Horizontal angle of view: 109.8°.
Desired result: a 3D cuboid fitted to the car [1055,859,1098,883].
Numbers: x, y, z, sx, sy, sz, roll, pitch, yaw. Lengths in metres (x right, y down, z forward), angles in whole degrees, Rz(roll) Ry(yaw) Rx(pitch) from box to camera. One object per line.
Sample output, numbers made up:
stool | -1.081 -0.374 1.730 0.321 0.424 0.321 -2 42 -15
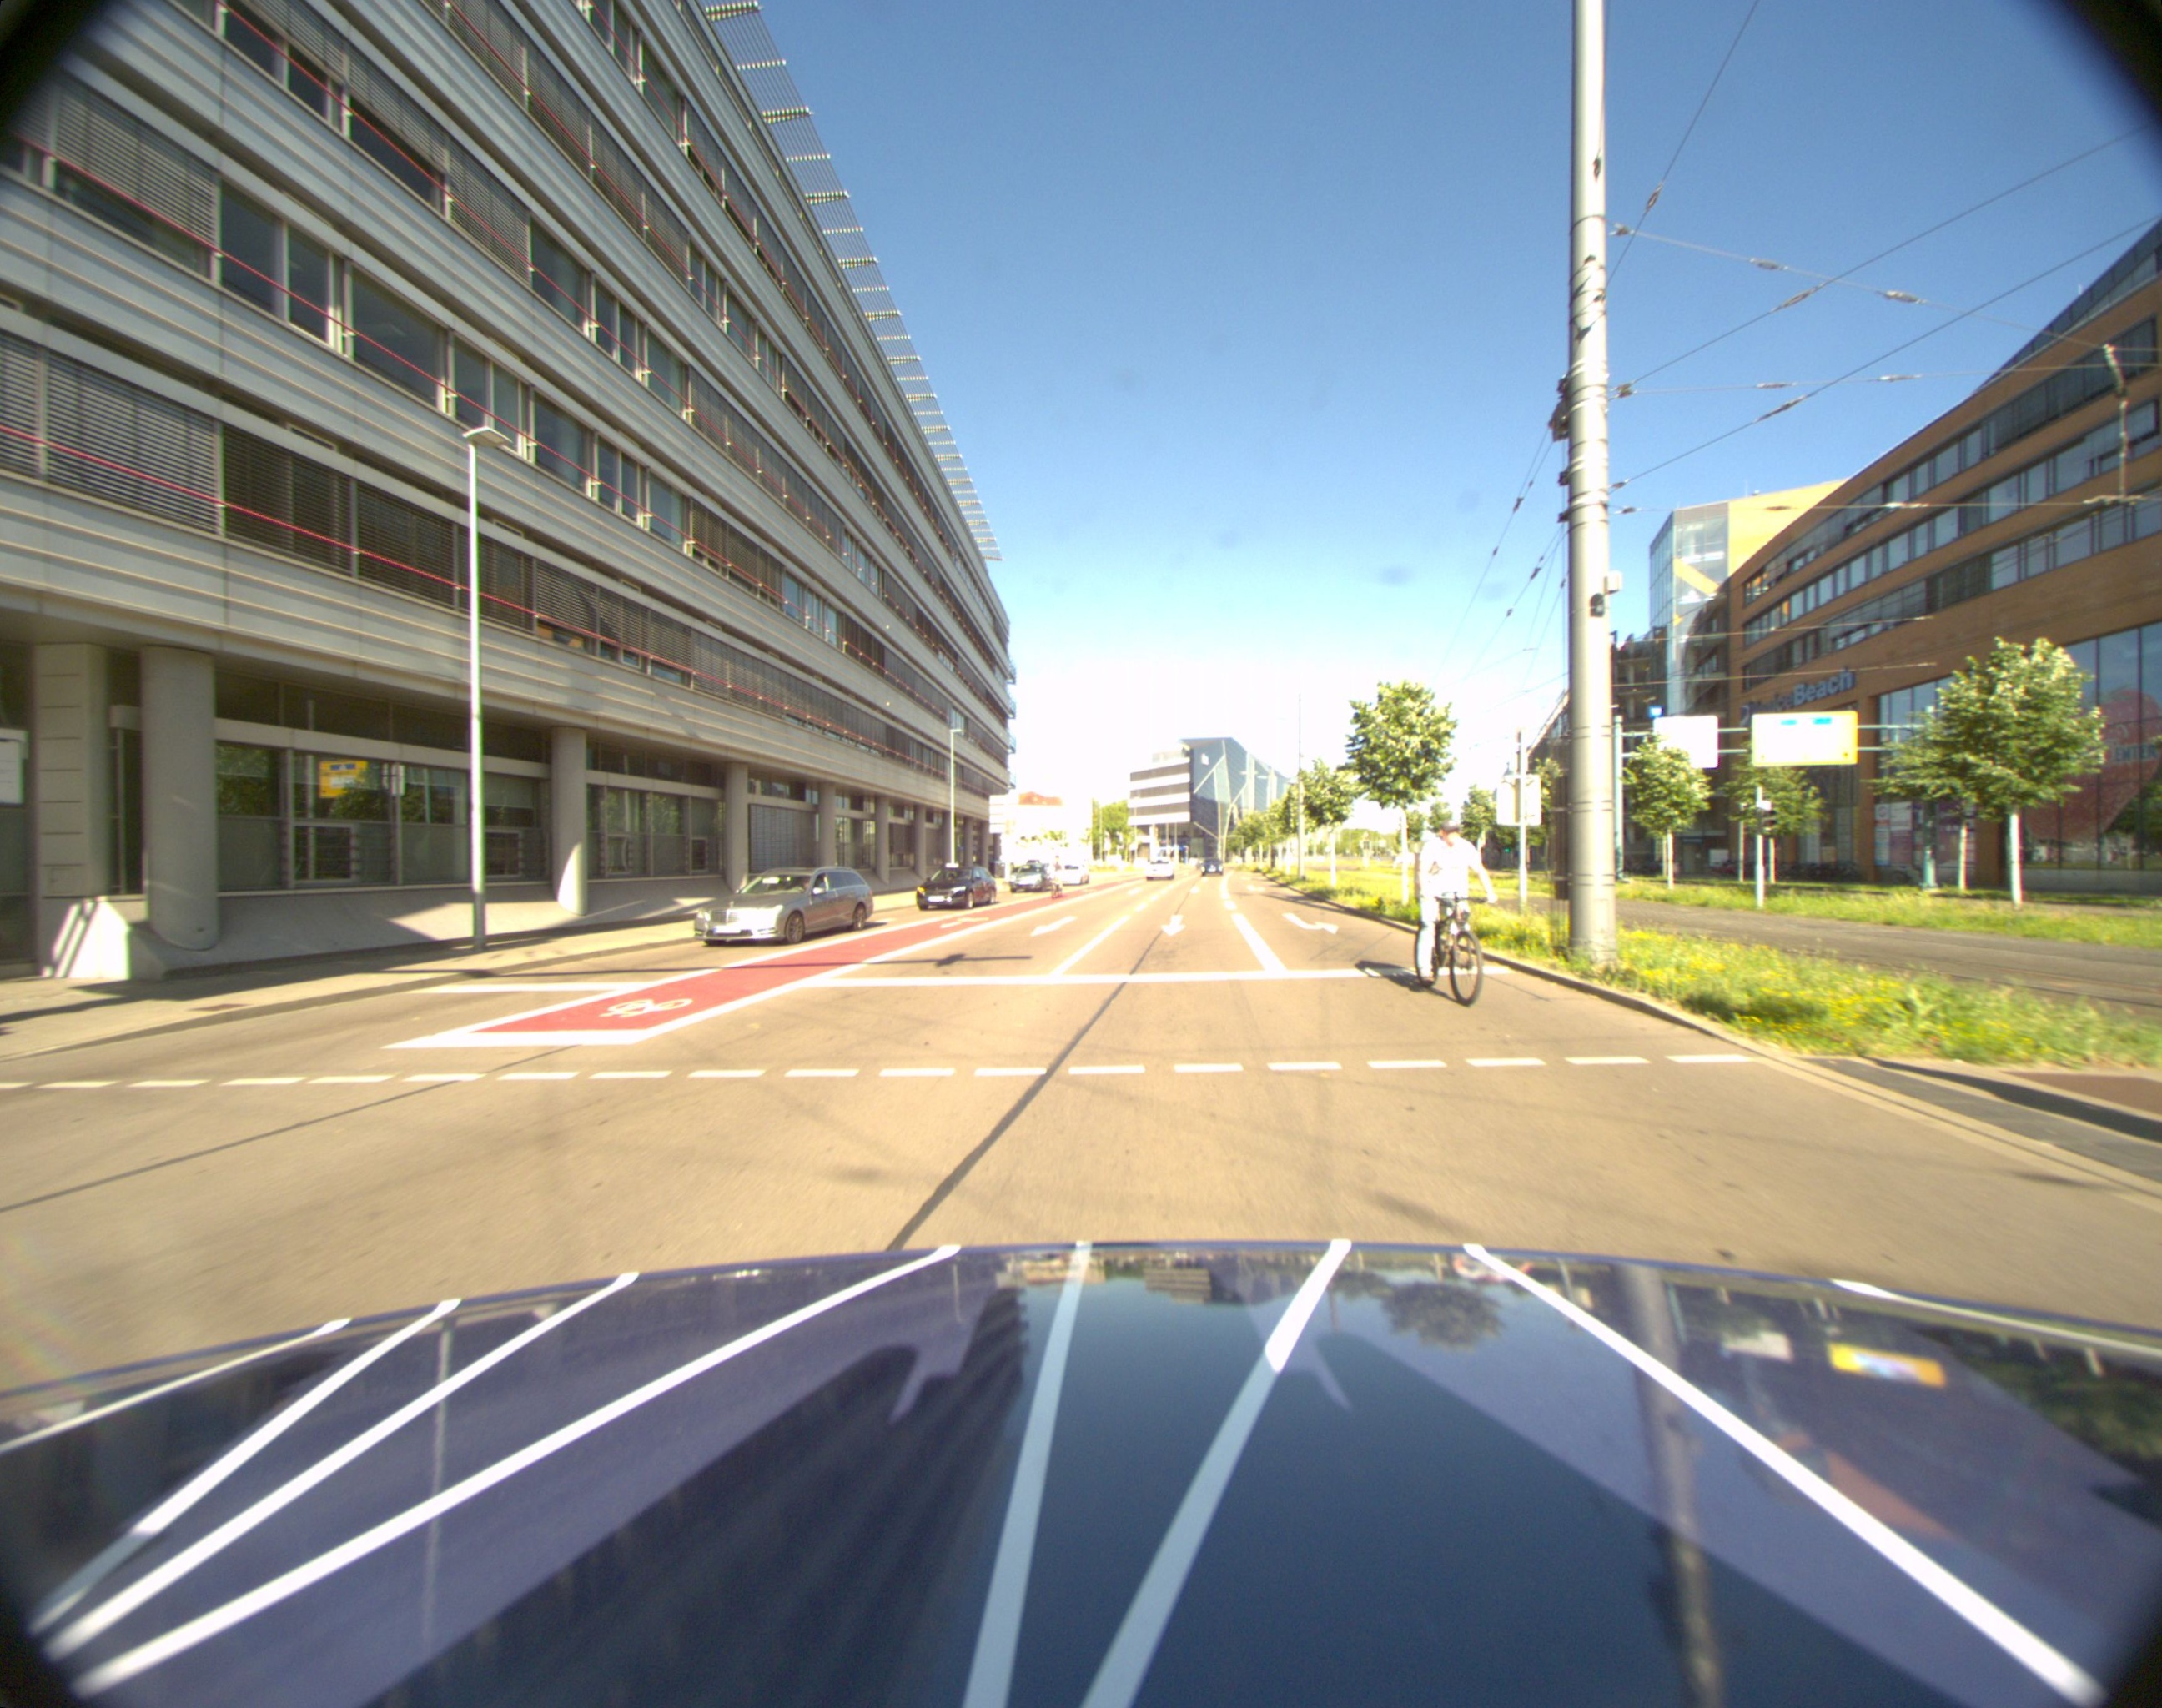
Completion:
car | -0.237 1.065 48.431 1.775 1.395 4.298 -3 -1 12

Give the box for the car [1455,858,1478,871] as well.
car | 41.702 1.113 82.307 1.430 1.351 3.299 0 0 12

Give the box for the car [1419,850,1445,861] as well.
car | 43.784 0.154 94.902 1.996 1.326 4.795 -1 0 12

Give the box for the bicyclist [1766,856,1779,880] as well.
bicyclist | 39.641 0.778 43.544 0.341 1.369 0.482 0 2 9

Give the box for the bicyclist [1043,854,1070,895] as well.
bicyclist | -1.007 0.848 31.771 0.807 1.683 1.052 -2 0 15

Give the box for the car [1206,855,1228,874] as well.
car | 11.703 0.899 65.374 1.872 1.547 4.003 0 0 10

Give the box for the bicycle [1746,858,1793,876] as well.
bicycle | 45.061 0.831 49.744 2.175 1.116 0.754 -2 0 19

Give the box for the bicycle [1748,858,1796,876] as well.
bicycle | 44.592 0.853 49.039 2.175 1.116 0.754 -2 0 19

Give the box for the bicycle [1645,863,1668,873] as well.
bicycle | 47.979 1.155 63.404 1.448 0.814 0.446 -2 0 19

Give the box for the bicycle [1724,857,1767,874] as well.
bicycle | 46.664 0.806 53.378 2.175 1.116 0.754 -2 0 19

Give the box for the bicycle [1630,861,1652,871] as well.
bicycle | 49.566 1.040 67.257 1.448 0.814 0.446 -2 0 19

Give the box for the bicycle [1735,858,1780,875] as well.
bicycle | 45.833 0.835 51.497 2.175 1.116 0.754 -2 0 19

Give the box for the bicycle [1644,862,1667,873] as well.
bicycle | 48.296 1.138 63.896 1.448 0.814 0.446 -2 0 19

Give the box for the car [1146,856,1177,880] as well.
car | 5.902 0.997 55.437 1.872 1.621 4.341 -1 1 11

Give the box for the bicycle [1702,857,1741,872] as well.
bicycle | 48.795 0.788 57.901 2.175 1.116 0.754 -2 0 19

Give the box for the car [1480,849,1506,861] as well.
car | 74.163 0.144 136.679 5.266 2.002 2.222 0 0 -38

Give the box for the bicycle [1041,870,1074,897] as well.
bicycle | -0.951 1.238 31.820 0.827 1.030 1.894 -2 0 15

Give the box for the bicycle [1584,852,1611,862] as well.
bicycle | 51.871 0.348 76.337 2.175 0.949 0.493 -2 0 19

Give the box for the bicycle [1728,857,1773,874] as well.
bicycle | 46.230 0.808 52.462 2.175 1.116 0.754 -2 0 19

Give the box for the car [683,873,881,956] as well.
car | -6.061 1.151 16.143 1.724 1.388 4.791 -1 0 9

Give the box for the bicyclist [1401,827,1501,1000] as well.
bicyclist | 3.781 0.582 7.834 0.619 1.660 1.020 -2 0 10

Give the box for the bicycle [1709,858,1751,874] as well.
bicycle | 47.498 0.849 55.603 2.175 1.116 0.754 -2 0 19

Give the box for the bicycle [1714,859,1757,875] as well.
bicycle | 47.060 0.927 54.667 2.175 1.116 0.754 -2 0 19

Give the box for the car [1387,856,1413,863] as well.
car | 53.801 0.969 128.343 3.991 1.084 2.003 -1 0 21

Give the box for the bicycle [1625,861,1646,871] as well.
bicycle | 50.014 1.064 68.585 1.448 0.814 0.446 -2 0 19

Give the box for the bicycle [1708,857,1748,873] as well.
bicycle | 48.450 0.814 56.918 2.175 1.116 0.754 -2 0 19

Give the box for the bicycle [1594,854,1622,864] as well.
bicycle | 51.610 0.491 74.376 2.175 0.949 0.493 -2 0 19

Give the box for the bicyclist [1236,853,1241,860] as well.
bicyclist | 29.889 0.437 144.008 0.760 1.401 0.773 0 1 37

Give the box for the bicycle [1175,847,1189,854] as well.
bicycle | 13.858 -0.468 104.448 1.703 0.948 0.698 1 0 24

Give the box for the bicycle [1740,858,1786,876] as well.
bicycle | 45.455 0.847 50.653 2.175 1.116 0.754 -2 0 19

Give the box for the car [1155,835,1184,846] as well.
car | 13.405 -2.013 114.965 3.988 1.547 1.879 0 0 38

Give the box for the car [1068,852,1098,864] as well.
car | 0.306 0.708 124.949 4.643 1.970 1.878 0 0 23

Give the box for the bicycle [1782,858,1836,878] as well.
bicycle | 43.124 0.845 45.037 2.175 1.116 0.754 -2 0 19

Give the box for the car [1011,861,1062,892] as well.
car | -2.284 1.153 40.114 1.724 1.515 4.402 -1 0 10

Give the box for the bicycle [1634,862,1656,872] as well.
bicycle | 48.444 1.145 65.250 1.448 0.814 0.446 -2 0 19

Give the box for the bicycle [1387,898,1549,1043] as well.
bicycle | 3.772 1.056 7.698 0.688 1.063 2.699 -2 0 10

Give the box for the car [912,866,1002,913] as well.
car | -4.205 1.163 26.502 1.724 1.414 4.640 -1 0 9

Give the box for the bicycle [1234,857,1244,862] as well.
bicycle | 29.915 1.060 144.038 0.768 0.835 2.573 0 0 37

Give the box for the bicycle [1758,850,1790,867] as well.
bicycle | 39.631 0.265 43.483 0.354 0.921 1.896 0 1 9

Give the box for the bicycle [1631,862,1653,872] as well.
bicycle | 48.814 1.137 66.073 1.448 0.814 0.446 -2 0 19
